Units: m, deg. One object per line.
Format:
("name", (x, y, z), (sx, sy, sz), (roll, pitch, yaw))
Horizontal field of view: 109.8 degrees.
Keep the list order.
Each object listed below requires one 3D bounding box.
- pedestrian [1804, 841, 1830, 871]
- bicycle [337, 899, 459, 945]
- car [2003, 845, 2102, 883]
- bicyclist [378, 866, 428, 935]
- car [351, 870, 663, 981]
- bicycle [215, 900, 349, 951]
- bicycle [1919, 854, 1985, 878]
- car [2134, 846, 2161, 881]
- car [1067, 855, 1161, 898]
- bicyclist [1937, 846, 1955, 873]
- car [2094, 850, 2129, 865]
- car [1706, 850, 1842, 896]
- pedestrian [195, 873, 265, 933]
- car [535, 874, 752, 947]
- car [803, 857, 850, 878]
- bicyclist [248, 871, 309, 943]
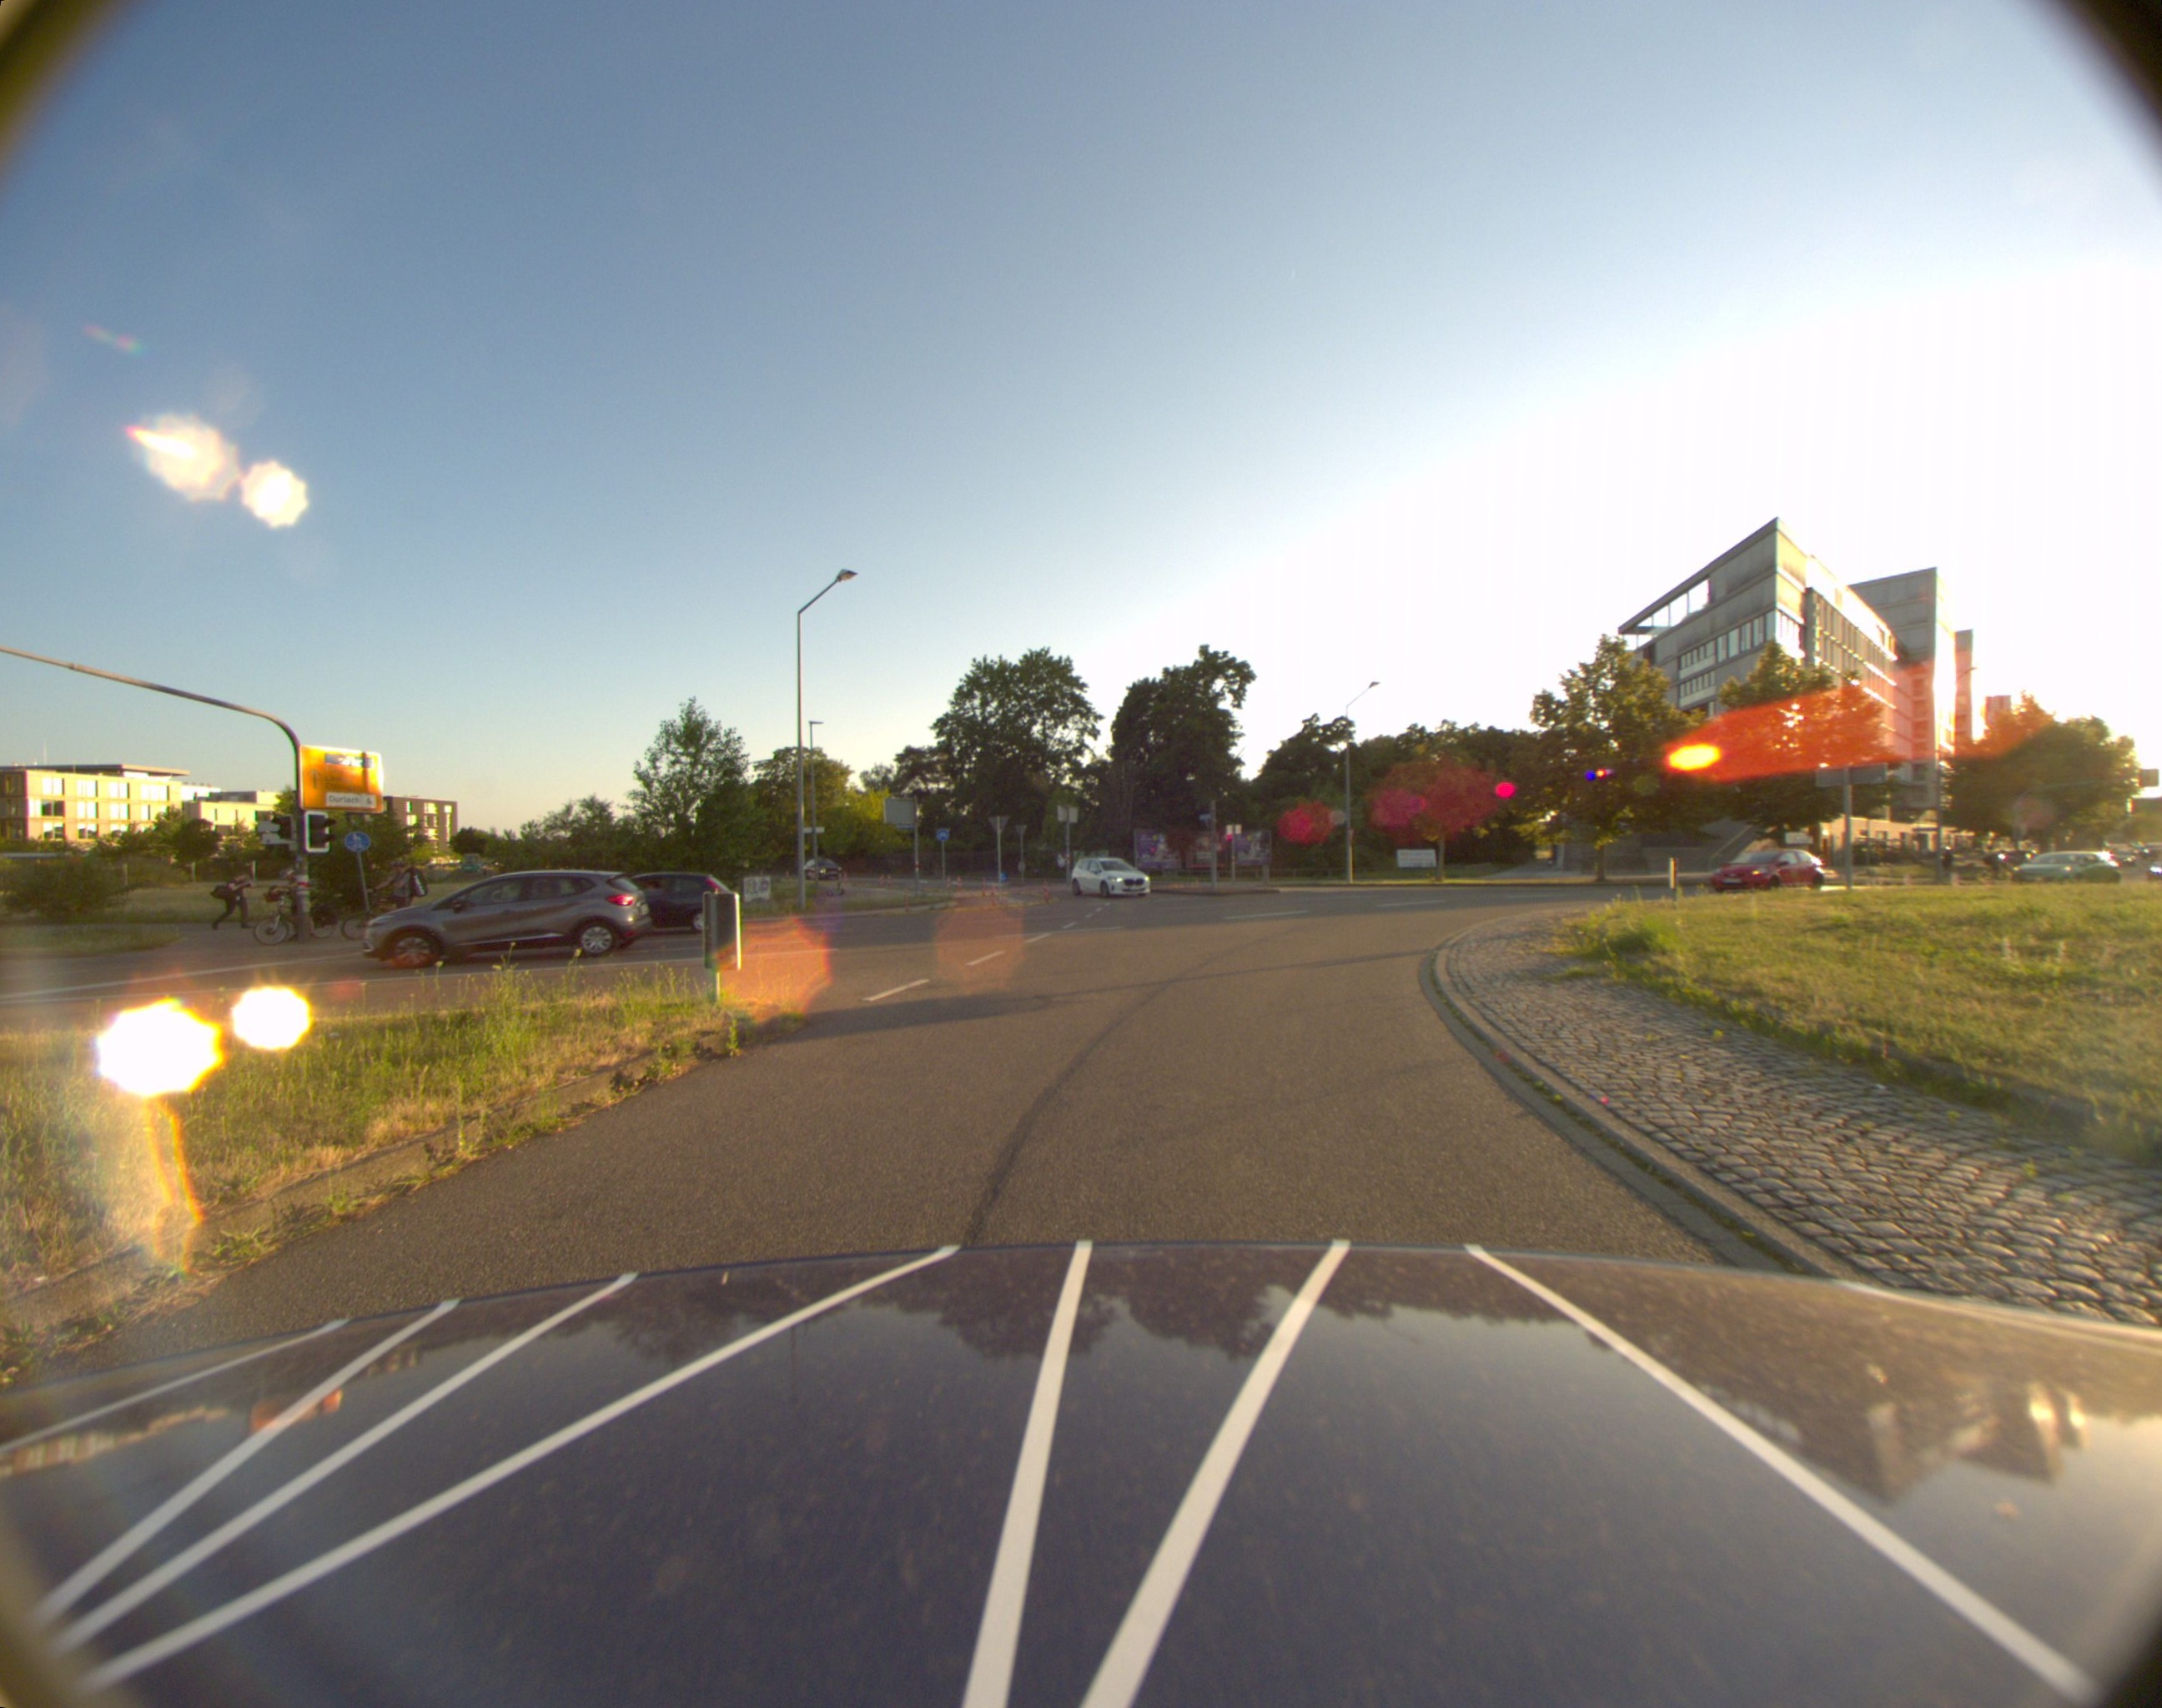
("pedestrian", (50.744, 0.120, 52.389), (0.776, 2.002, 0.998), (-2, 1, -11))
("bicycle", (-17.163, 1.677, 19.160), (0.708, 0.957, 2.149), (-1, 0, 26))
("car", (39.492, 0.394, 30.872), (4.005, 1.412, 1.686), (-1, 0, -26))
("bicyclist", (-17.147, 1.163, 19.220), (0.723, 1.680, 0.690), (-1, 1, 28))
("car", (-9.997, 1.171, 13.657), (4.003, 1.619, 1.997), (-1, 0, -19))
("bicycle", (-19.274, 1.695, 18.400), (0.708, 0.958, 2.109), (-1, 2, 14))
("bicycle", (47.087, 0.622, 41.120), (0.744, 1.237, 2.341), (-2, 1, -41))
("car", (51.730, 0.426, 35.492), (4.333, 1.568, 1.731), (-1, 0, -18))
("car", (1.263, 0.874, 31.012), (2.003, 1.597, 4.189), (-1, 0, -27))
("bicyclist", (46.974, 0.303, 41.262), (0.693, 1.432, 0.610), (-2, 1, -42))
("car", (92.912, 0.298, 68.488), (4.133, 1.371, 1.746), (-1, 1, -35))
("car", (23.365, 0.599, 25.618), (4.003, 1.412, 1.687), (-1, 0, -19))
("pedestrian", (-23.899, 1.350, 21.367), (0.993, 1.581, 0.925), (-1, 1, -24))
("car", (-10.150, 1.262, 18.051), (4.203, 1.419, 1.996), (-1, 0, -22))
("car", (-20.362, 1.050, 60.720), (2.004, 1.588, 4.302), (-1, 1, -41))
("bicyclist", (-19.332, 1.255, 18.313), (0.724, 1.680, 0.690), (-1, 1, 12))
